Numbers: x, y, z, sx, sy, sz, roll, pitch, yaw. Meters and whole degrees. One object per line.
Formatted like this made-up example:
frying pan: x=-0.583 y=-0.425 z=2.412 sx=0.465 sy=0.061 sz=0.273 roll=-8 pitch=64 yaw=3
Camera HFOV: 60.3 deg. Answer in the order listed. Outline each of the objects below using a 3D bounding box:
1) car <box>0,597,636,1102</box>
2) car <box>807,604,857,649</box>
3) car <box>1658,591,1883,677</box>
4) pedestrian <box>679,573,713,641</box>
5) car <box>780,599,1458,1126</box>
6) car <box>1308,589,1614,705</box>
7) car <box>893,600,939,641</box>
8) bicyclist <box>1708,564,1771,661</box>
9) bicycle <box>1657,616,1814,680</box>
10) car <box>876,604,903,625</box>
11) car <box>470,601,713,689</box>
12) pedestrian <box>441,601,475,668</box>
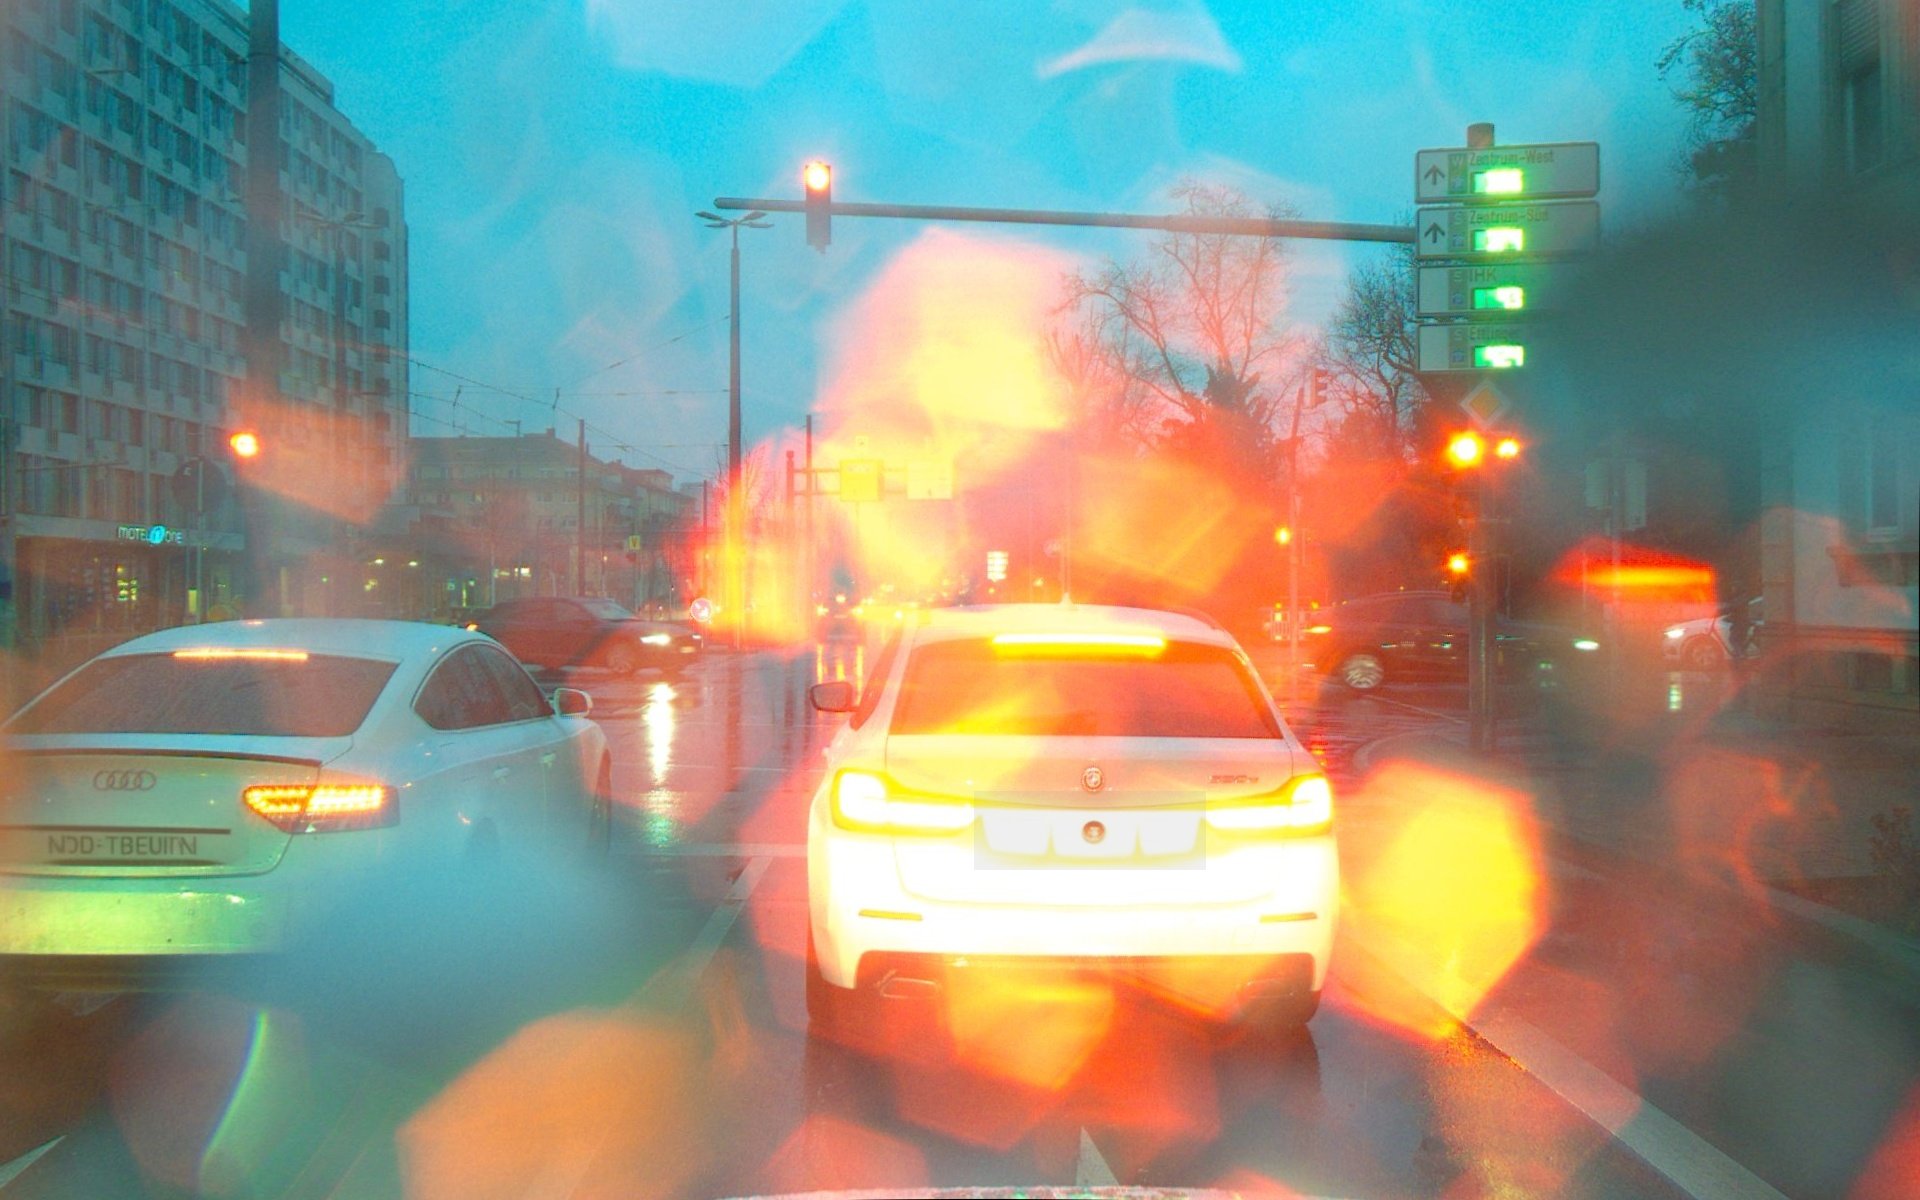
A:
car: x=-2.712 y=0.743 z=7.108 sx=1.954 sy=1.481 sz=4.366 roll=0 pitch=0 yaw=-3
car: x=-4.912 y=0.996 z=62.939 sx=1.807 sy=1.637 sz=3.940 roll=1 pitch=-1 yaw=-5
car: x=16.144 y=0.664 z=33.145 sx=3.873 sy=1.581 sz=1.749 roll=1 pitch=-1 yaw=21
pedestrian: x=-7.431 y=0.207 z=46.592 sx=0.885 sy=1.888 sz=0.811 roll=1 pitch=-1 yaw=-7
car: x=0.369 y=0.751 z=6.937 sx=1.954 sy=1.481 sz=4.366 roll=0 pitch=0 yaw=-3
car: x=8.104 y=0.728 z=26.913 sx=4.597 sy=1.751 sz=1.902 roll=0 pitch=-1 yaw=18
car: x=-1.825 y=0.849 z=68.922 sx=1.806 sy=1.637 sz=3.943 roll=1 pitch=-1 yaw=-2
bicyclist: x=14.795 y=0.242 z=31.414 sx=0.952 sy=1.789 sz=0.813 roll=1 pitch=-1 yaw=18
bicycle: x=14.695 y=0.901 z=31.428 sx=2.611 sy=1.108 sz=0.815 roll=1 pitch=-1 yaw=18
car: x=-5.285 y=1.055 z=123.974 sx=1.954 sy=1.481 sz=4.366 roll=0 pitch=0 yaw=-3
car: x=-7.138 y=0.855 z=32.137 sx=4.220 sy=1.557 sz=1.764 roll=1 pitch=-1 yaw=12
pedestrian: x=-13.425 y=0.917 z=44.254 sx=0.777 sy=1.741 sz=0.809 roll=2 pitch=-1 yaw=-16
